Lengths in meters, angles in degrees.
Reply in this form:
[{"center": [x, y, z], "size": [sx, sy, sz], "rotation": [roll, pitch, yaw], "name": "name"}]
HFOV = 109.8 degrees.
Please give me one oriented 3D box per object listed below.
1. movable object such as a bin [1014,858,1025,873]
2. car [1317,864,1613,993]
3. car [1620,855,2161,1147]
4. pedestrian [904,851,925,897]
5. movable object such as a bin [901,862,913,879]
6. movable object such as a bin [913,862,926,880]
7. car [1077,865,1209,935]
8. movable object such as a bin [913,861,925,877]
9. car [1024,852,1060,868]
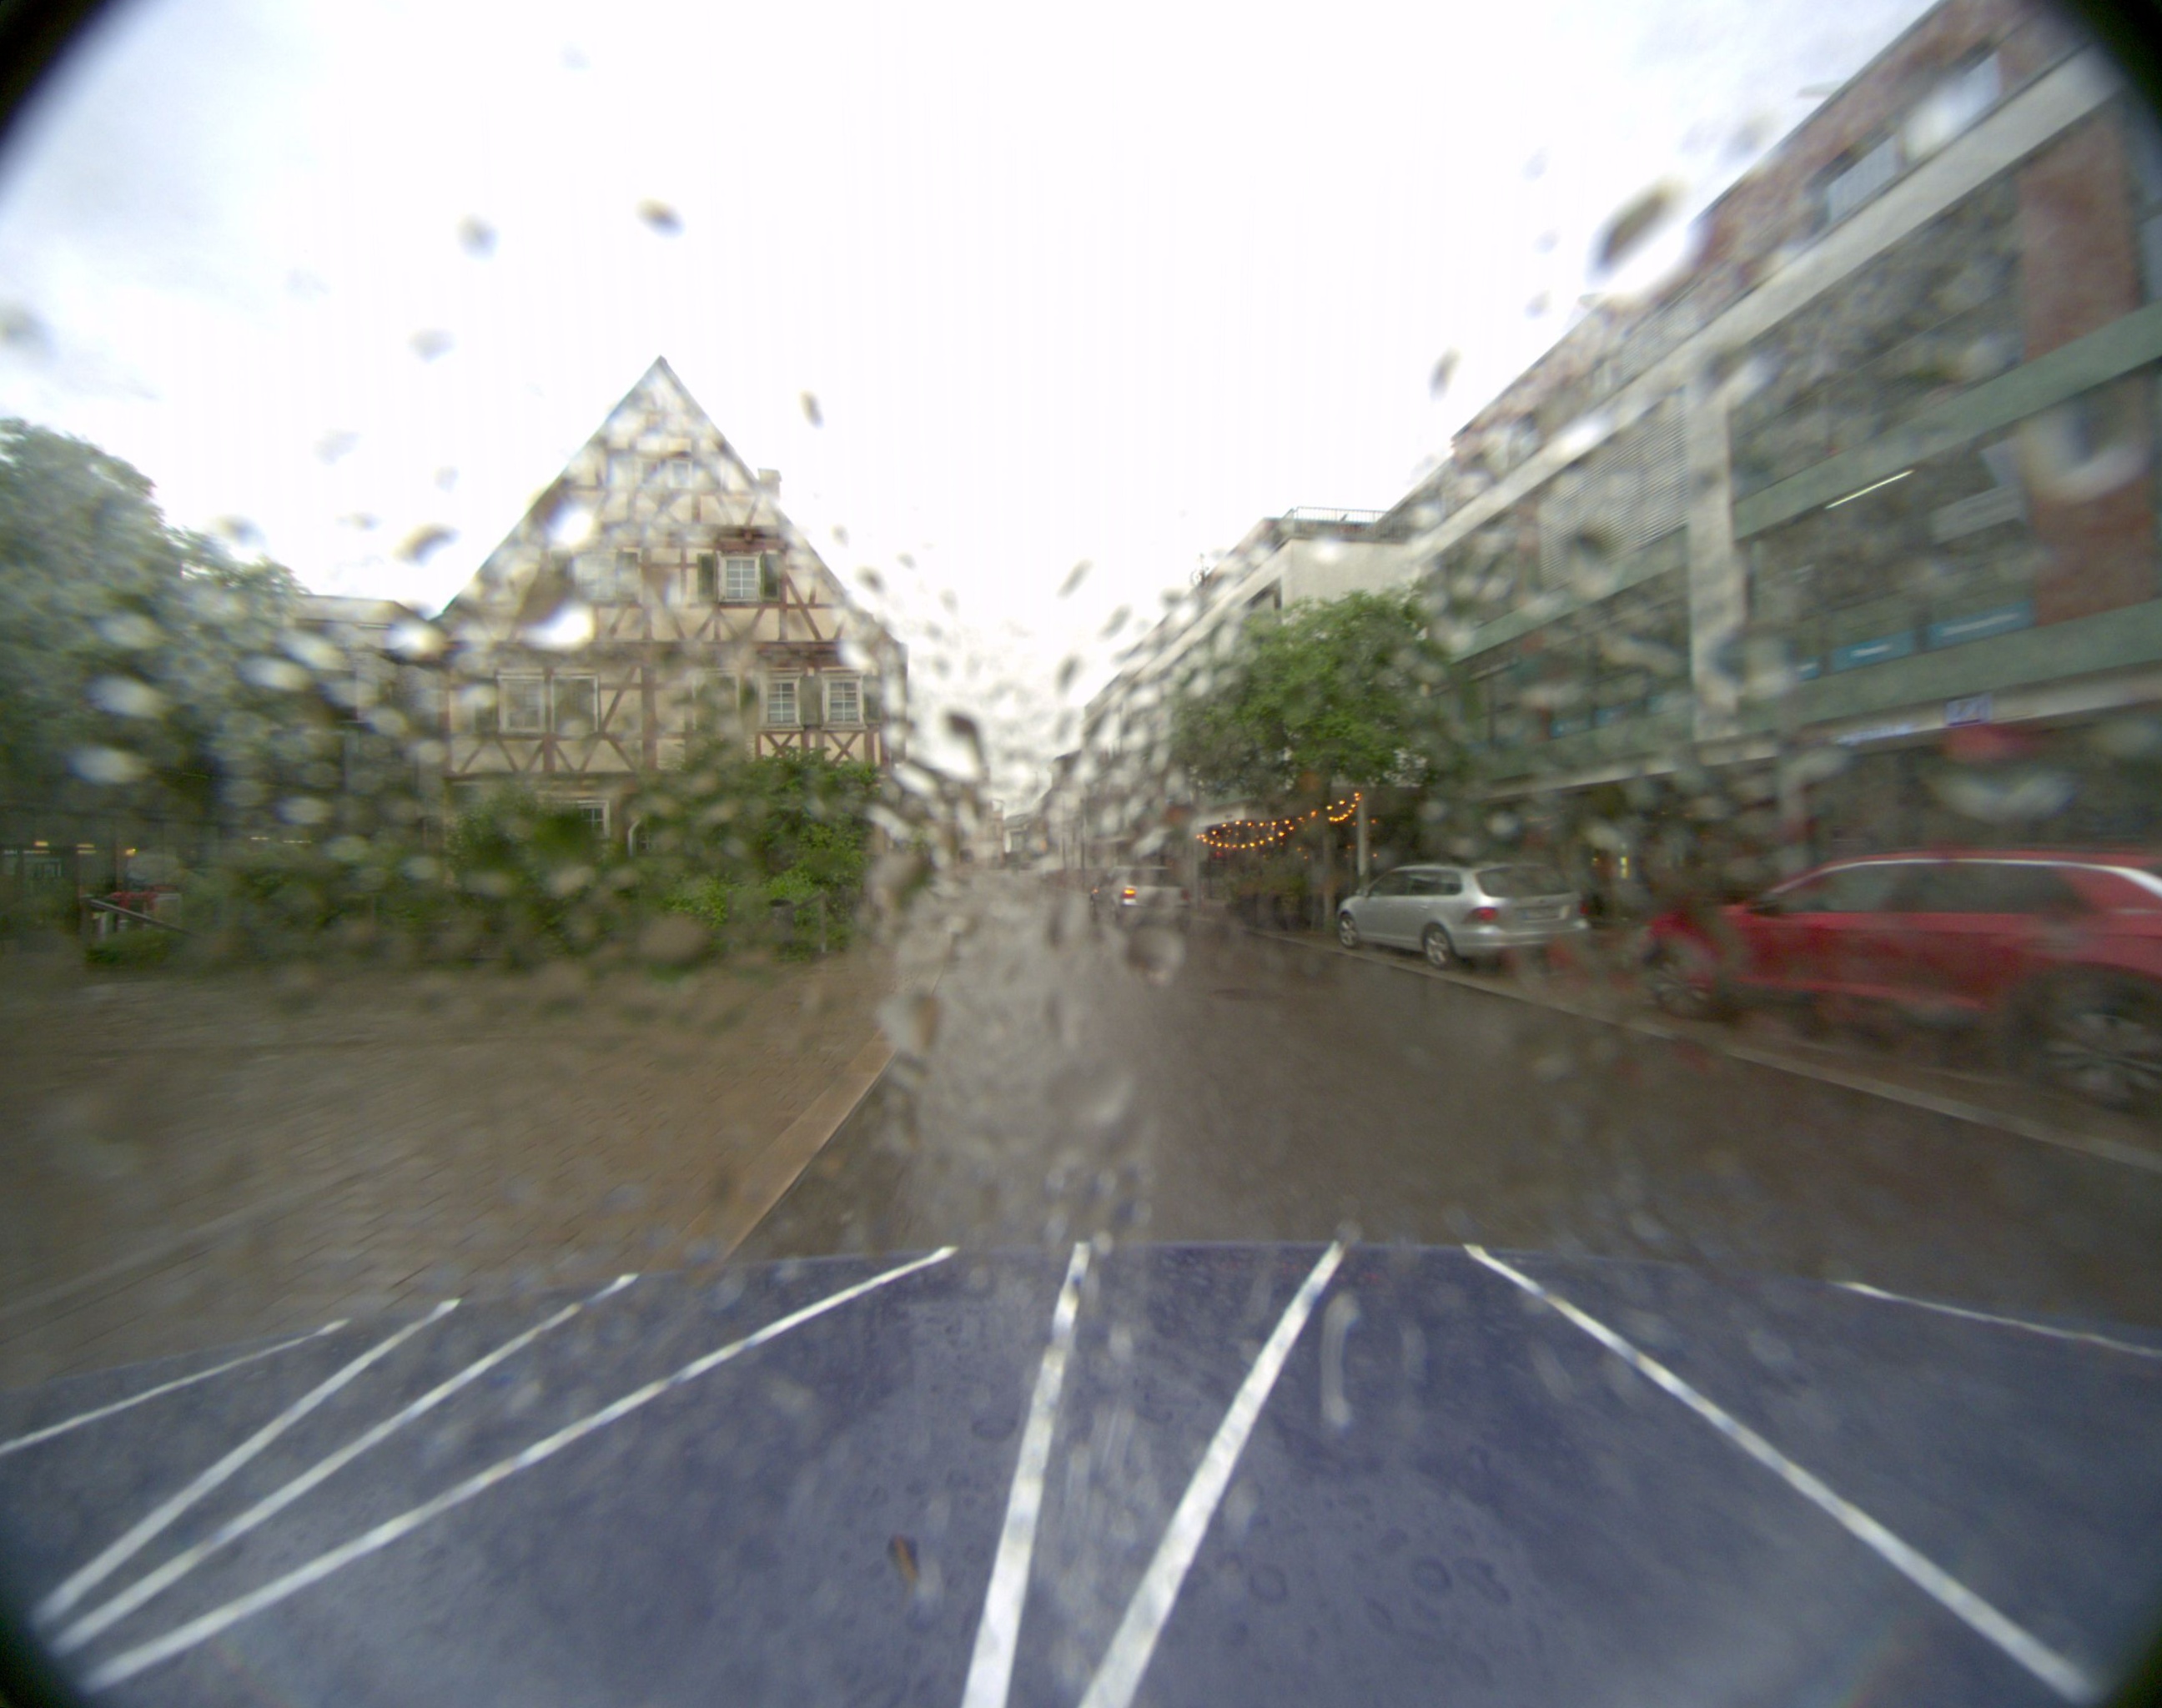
[{"center": [-4.786, 0.903, 58.781], "size": [0.689, 1.075, 0.759], "rotation": [-3, 2, -15], "name": "movable object such as a bin"}, {"center": [5.441, 0.938, 11.565], "size": [1.792, 1.490, 4.451], "rotation": [0, 0, -8], "name": "car"}, {"center": [6.534, 0.798, 5.642], "size": [1.792, 1.567, 4.103], "rotation": [0, 0, -8], "name": "car"}, {"center": [-6.853, 0.807, 31.255], "size": [0.813, 1.874, 0.906], "rotation": [1, 0, -15], "name": "pedestrian"}, {"center": [-11.116, 1.037, 48.545], "size": [0.768, 1.089, 0.626], "rotation": [0, 1, -13], "name": "movable object such as a bin"}, {"center": [-10.249, 1.066, 48.288], "size": [0.768, 1.089, 0.580], "rotation": [0, 1, -13], "name": "movable object such as a bin"}, {"center": [1.323, 1.005, 18.073], "size": [1.797, 1.409, 4.023], "rotation": [1, 0, -16], "name": "car"}, {"center": [-11.097, 1.024, 51.977], "size": [0.768, 1.089, 0.580], "rotation": [0, 1, -13], "name": "movable object such as a bin"}, {"center": [-5.201, 0.835, 101.929], "size": [4.483, 2.002, 2.001], "rotation": [1, 0, 4], "name": "car"}]
